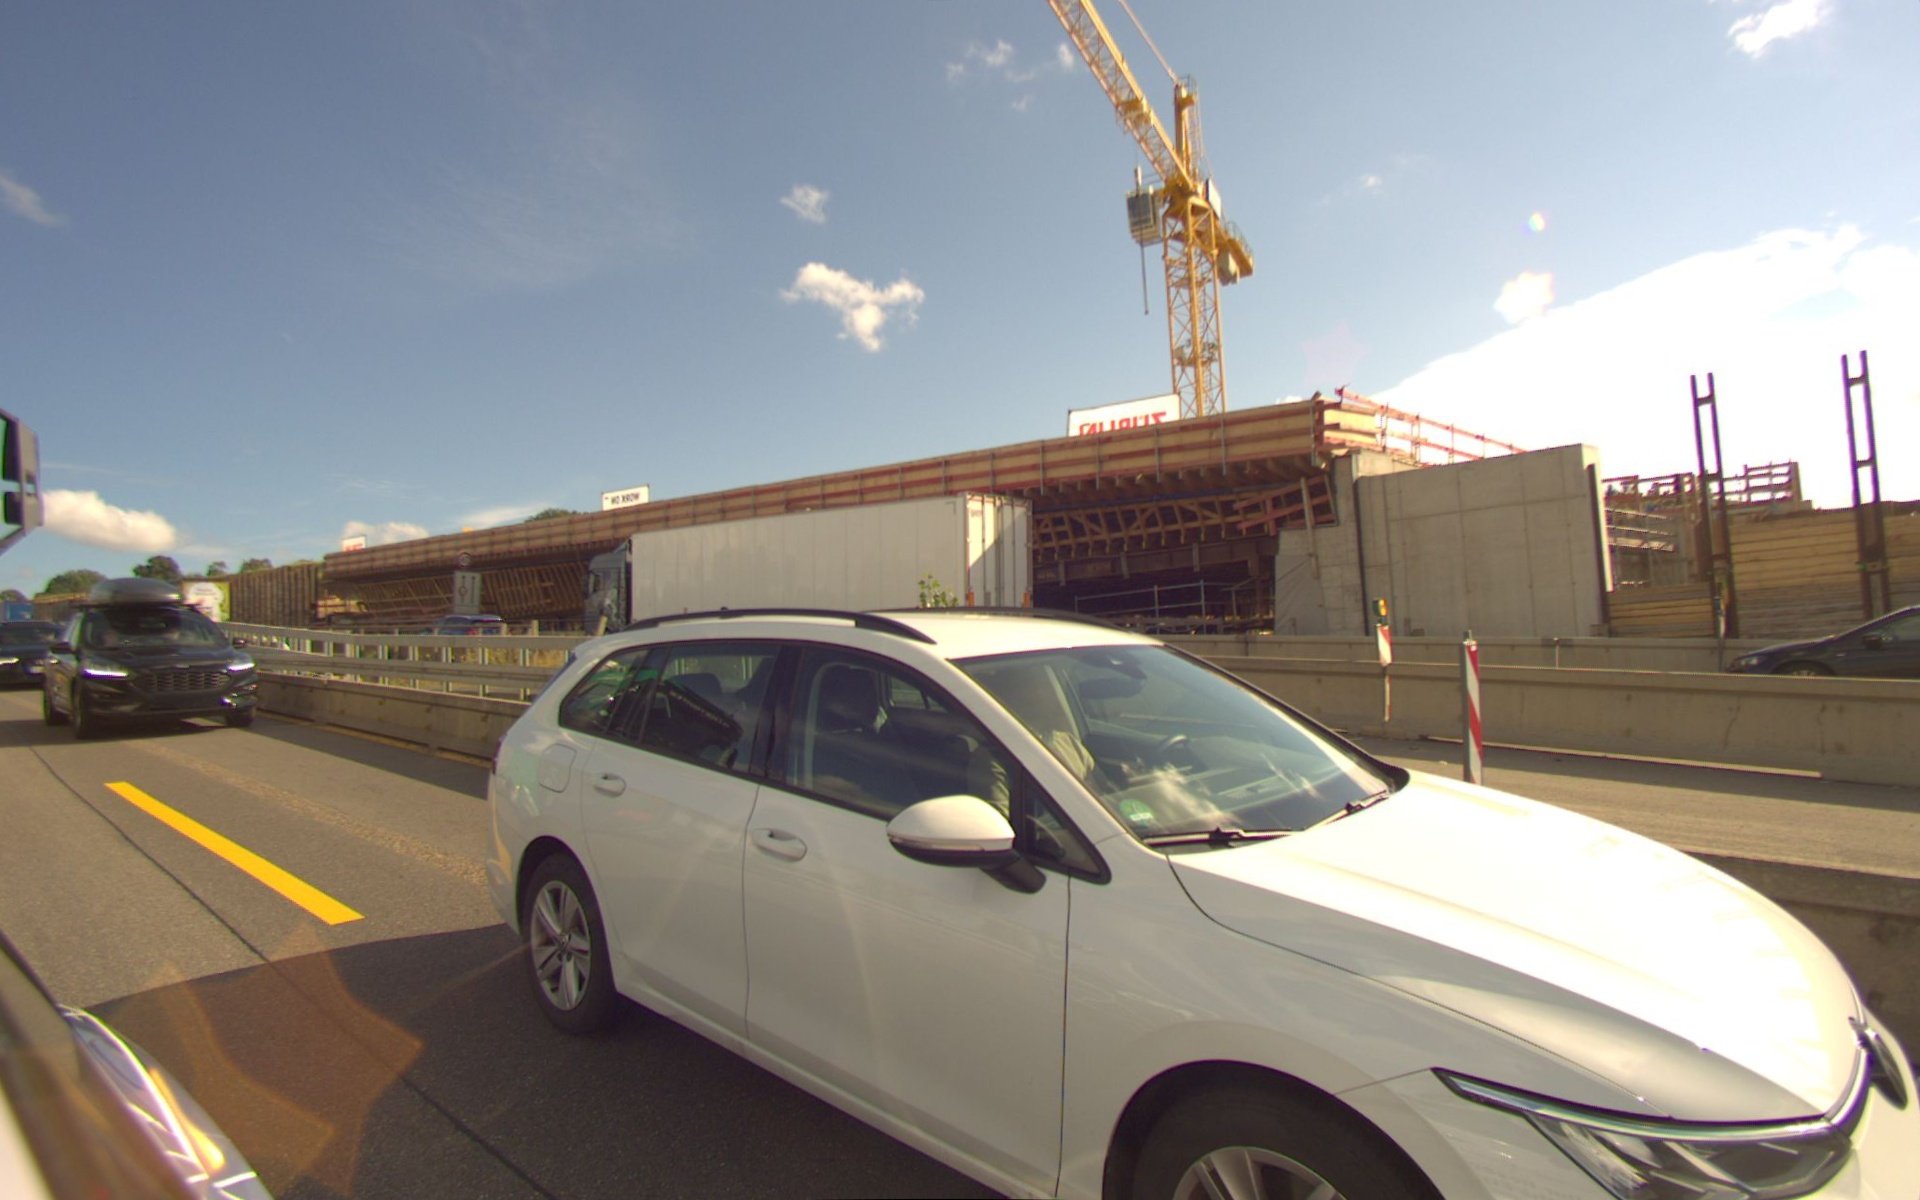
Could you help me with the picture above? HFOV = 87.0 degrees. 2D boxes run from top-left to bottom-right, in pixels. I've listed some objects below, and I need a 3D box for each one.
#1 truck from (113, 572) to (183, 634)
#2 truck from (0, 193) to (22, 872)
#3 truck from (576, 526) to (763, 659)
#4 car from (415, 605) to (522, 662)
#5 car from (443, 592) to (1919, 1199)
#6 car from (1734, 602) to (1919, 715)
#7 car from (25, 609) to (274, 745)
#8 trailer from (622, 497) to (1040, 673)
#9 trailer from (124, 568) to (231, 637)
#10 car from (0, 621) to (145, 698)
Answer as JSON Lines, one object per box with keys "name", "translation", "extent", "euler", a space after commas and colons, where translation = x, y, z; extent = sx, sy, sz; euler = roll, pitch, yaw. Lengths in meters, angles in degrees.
{"name": "truck", "translation": [-57.005, 0.244, 70.988], "extent": [5.965, 4.168, 2.685], "euler": [-1, 0, 40]}
{"name": "truck", "translation": [-10.209, -0.337, 8.129], "extent": [10.308, 3.876, 2.630], "euler": [-1, 0, 40]}
{"name": "truck", "translation": [-9.256, -0.197, 31.984], "extent": [6.013, 3.817, 2.749], "euler": [-1, 0, 40]}
{"name": "car", "translation": [-16.279, 1.061, 33.413], "extent": [1.970, 1.739, 4.125], "euler": [-1, 0, -44]}
{"name": "car", "translation": [0.205, 0.751, 3.162], "extent": [4.516, 1.502, 1.751], "euler": [0, -1, 42]}
{"name": "car", "translation": [11.962, 0.661, 12.053], "extent": [1.896, 1.282, 4.007], "euler": [-1, -1, -40]}
{"name": "car", "translation": [-11.143, 0.917, 13.815], "extent": [4.380, 1.554, 1.781], "euler": [0, -1, 40]}
{"name": "trailer", "translation": [-4.251, -0.285, 27.836], "extent": [13.792, 3.870, 2.792], "euler": [-1, 0, 40]}
{"name": "trailer", "translation": [-51.570, 0.194, 66.465], "extent": [13.799, 4.187, 2.661], "euler": [-1, 0, 40]}
{"name": "car", "translation": [-20.388, 1.274, 23.105], "extent": [4.502, 1.441, 1.924], "euler": [0, 2, 40]}
